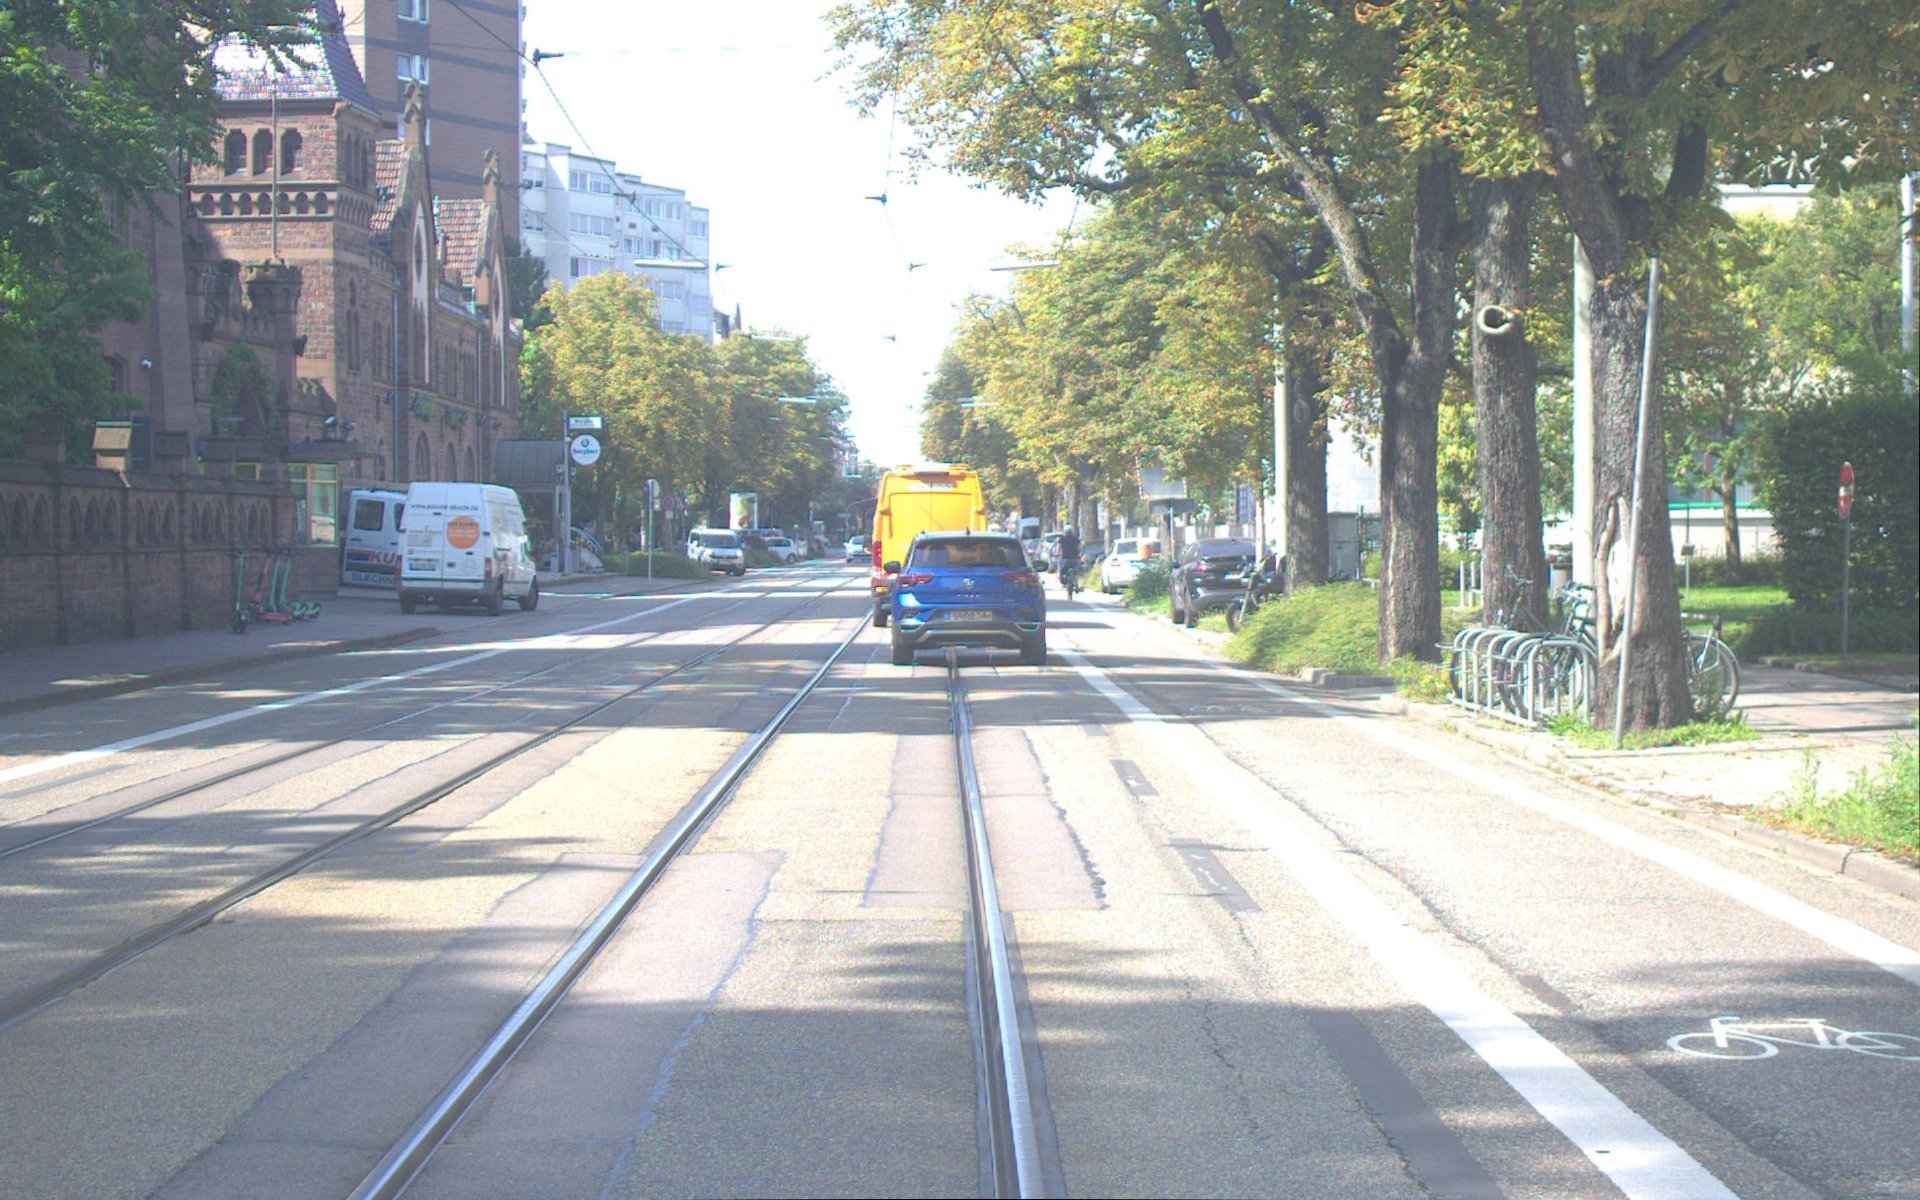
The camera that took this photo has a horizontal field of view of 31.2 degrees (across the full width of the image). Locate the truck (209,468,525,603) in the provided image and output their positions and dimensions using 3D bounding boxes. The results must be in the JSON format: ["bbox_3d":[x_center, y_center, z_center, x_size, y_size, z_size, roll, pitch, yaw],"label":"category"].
[{"bbox_3d":[-12.836,-1.425,74.614,6.322,2.529,2.130,3,2,5],"label":"truck"}]

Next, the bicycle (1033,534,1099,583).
[{"bbox_3d":[2.485,-0.988,81.054,1.401,1.130,4.000,0,1,0],"label":"bicycle"}]

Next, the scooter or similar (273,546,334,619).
[{"bbox_3d":[-10.731,-0.297,56.214,0.340,1.174,1.176,1,1,25],"label":"scooter or similar"}]

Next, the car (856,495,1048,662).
[{"bbox_3d":[-0.097,-0.283,41.392,2.135,1.852,5.568,-1,1,0],"label":"car"}]

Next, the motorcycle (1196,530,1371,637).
[{"bbox_3d":[4.672,-0.255,49.766,2.452,1.510,0.851,1,1,38],"label":"motorcycle"}]

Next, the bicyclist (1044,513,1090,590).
[{"bbox_3d":[2.523,-1.150,81.027,1.031,1.806,1.016,0,1,0],"label":"bicyclist"}]

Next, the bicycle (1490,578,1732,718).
[{"bbox_3d":[5.072,0.368,26.818,1.771,1.046,0.541,-1,1,-1],"label":"bicycle"}]

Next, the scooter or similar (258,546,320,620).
[{"bbox_3d":[-10.741,-0.277,55.080,0.340,1.174,1.176,1,1,25],"label":"scooter or similar"}]

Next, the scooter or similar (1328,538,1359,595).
[{"bbox_3d":[8.503,-0.746,76.222,0.556,1.255,1.818,0,1,2],"label":"scooter or similar"}]

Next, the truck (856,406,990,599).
[{"bbox_3d":[-0.600,-1.631,58.819,2.135,3.113,6.085,-1,1,0],"label":"truck"}]

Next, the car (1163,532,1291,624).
[{"bbox_3d":[4.650,-0.411,60.431,1.756,1.510,4.610,-1,1,-1],"label":"car"}]

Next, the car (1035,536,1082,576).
[{"bbox_3d":[4.126,-1.866,144.433,1.740,1.662,4.362,0,1,-1],"label":"car"}]

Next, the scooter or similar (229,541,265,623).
[{"bbox_3d":[-10.294,-0.266,49.604,0.420,1.174,1.317,0,1,-16],"label":"scooter or similar"}]

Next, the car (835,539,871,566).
[{"bbox_3d":[-6.085,-2.748,196.659,1.847,1.486,4.867,-1,1,0],"label":"car"}]

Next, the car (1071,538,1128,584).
[{"bbox_3d":[4.428,-1.243,109.692,1.659,1.403,4.217,-1,1,0],"label":"car"}]

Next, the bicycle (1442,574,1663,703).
[{"bbox_3d":[5.041,0.323,29.297,1.771,1.046,0.541,-1,1,-1],"label":"bicycle"}]

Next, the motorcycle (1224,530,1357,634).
[{"bbox_3d":[4.931,-0.283,51.465,0.850,1.510,2.456,0,1,-25],"label":"motorcycle"}]

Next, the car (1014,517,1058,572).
[{"bbox_3d":[3.848,-2.842,175.539,1.993,2.746,5.762,0,1,-1],"label":"car"}]

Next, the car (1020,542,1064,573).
[{"bbox_3d":[3.901,-2.057,164.956,1.908,1.427,4.293,0,1,-1],"label":"car"}]

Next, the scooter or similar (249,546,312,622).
[{"bbox_3d":[-10.647,-0.255,53.908,0.340,1.174,1.176,1,1,25],"label":"scooter or similar"}]

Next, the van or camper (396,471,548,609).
[{"bbox_3d":[-9.832,-1.227,69.759,2.113,2.666,5.955,0,1,1],"label":"van or camper"}]

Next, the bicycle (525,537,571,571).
[{"bbox_3d":[-14.089,-1.580,117.583,1.451,1.089,0.399,4,1,-4],"label":"bicycle"}]

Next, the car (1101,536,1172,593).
[{"bbox_3d":[4.670,-0.948,91.310,1.659,1.476,4.217,-1,1,0],"label":"car"}]

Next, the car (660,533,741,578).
[{"bbox_3d":[-10.432,-1.796,137.979,1.747,1.790,4.001,0,1,-28],"label":"car"}]

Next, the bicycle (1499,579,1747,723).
[{"bbox_3d":[5.032,0.380,26.140,1.771,1.046,0.541,-1,1,-1],"label":"bicycle"}]
